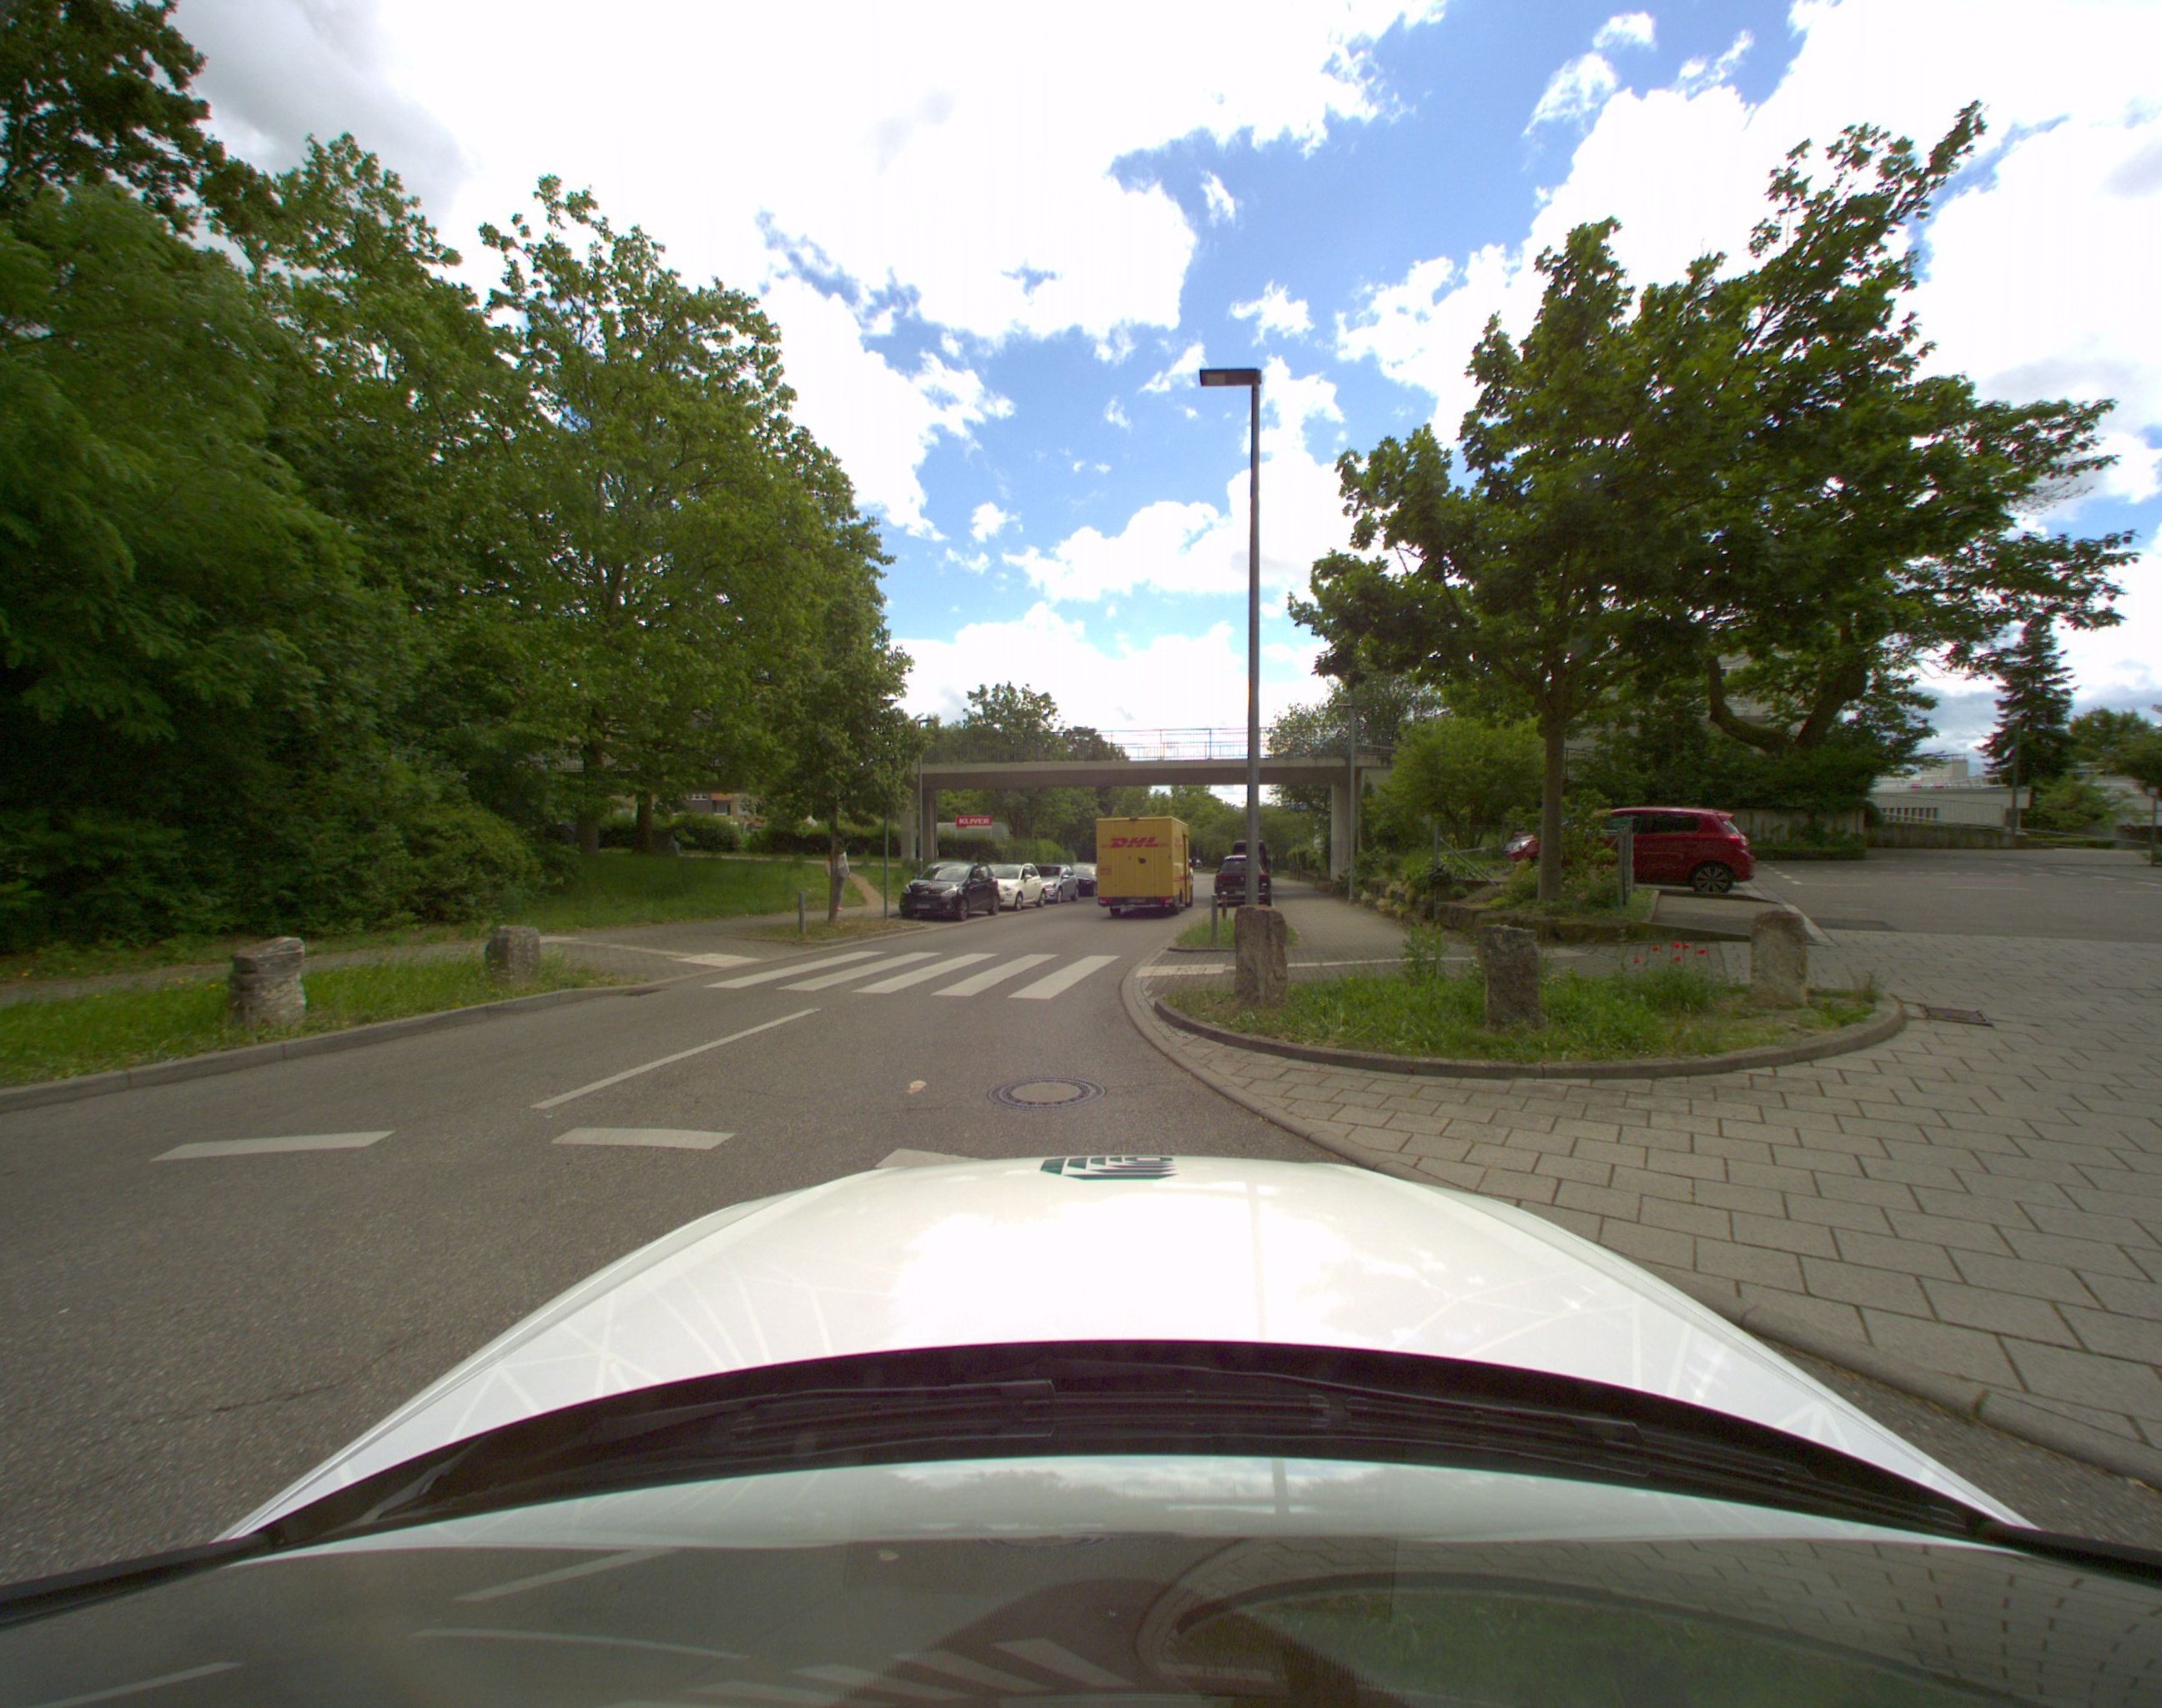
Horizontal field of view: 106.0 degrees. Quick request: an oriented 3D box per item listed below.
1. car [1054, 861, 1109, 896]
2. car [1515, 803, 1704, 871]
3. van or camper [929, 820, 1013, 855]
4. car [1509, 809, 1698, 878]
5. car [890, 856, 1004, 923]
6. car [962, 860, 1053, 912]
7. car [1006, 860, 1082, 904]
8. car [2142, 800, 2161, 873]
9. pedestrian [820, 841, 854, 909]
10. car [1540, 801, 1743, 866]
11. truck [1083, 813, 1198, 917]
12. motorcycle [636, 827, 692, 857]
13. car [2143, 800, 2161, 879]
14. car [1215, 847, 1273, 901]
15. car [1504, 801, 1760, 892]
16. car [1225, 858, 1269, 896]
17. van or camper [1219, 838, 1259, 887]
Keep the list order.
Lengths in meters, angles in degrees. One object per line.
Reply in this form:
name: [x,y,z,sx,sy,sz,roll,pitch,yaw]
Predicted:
car: [0.086,1.102,38.247,1.874,1.509,4.463,1,0,9]
car: [13.626,-0.448,21.222,3.949,1.613,1.957,1,1,32]
van or camper: [-6.862,-1.017,50.994,4.828,2.085,2.004,1,1,7]
car: [12.302,-0.273,19.316,3.615,1.498,1.695,1,1,34]
car: [-3.496,0.875,22.030,1.775,1.467,4.011,3,1,10]
car: [-2.295,0.972,26.334,1.871,1.460,3.559,1,1,13]
car: [-1.321,1.012,31.151,1.871,1.427,4.015,1,1,13]
car: [24.083,-0.329,15.805,3.943,1.517,1.768,1,1,40]
pedestrian: [-6.285,0.530,21.006,0.736,1.721,0.658,0,1,-8]
car: [15.504,-0.569,22.831,4.500,1.668,1.957,1,1,32]
truck: [2.035,0.298,24.756,2.449,2.702,6.848,0,0,13]
motorcycle: [-18.554,-0.537,36.252,0.875,1.270,2.059,1,1,30]
car: [22.088,-0.238,14.206,4.002,1.517,1.767,1,1,39]
car: [5.558,0.755,27.857,1.802,1.679,4.382,0,-3,11]
car: [9.748,-0.163,14.640,3.615,1.439,1.695,1,1,34]
car: [7.042,0.930,34.501,1.688,1.496,4.132,-1,-1,12]
van or camper: [8.877,0.502,45.413,1.980,2.523,5.488,-2,-1,12]
